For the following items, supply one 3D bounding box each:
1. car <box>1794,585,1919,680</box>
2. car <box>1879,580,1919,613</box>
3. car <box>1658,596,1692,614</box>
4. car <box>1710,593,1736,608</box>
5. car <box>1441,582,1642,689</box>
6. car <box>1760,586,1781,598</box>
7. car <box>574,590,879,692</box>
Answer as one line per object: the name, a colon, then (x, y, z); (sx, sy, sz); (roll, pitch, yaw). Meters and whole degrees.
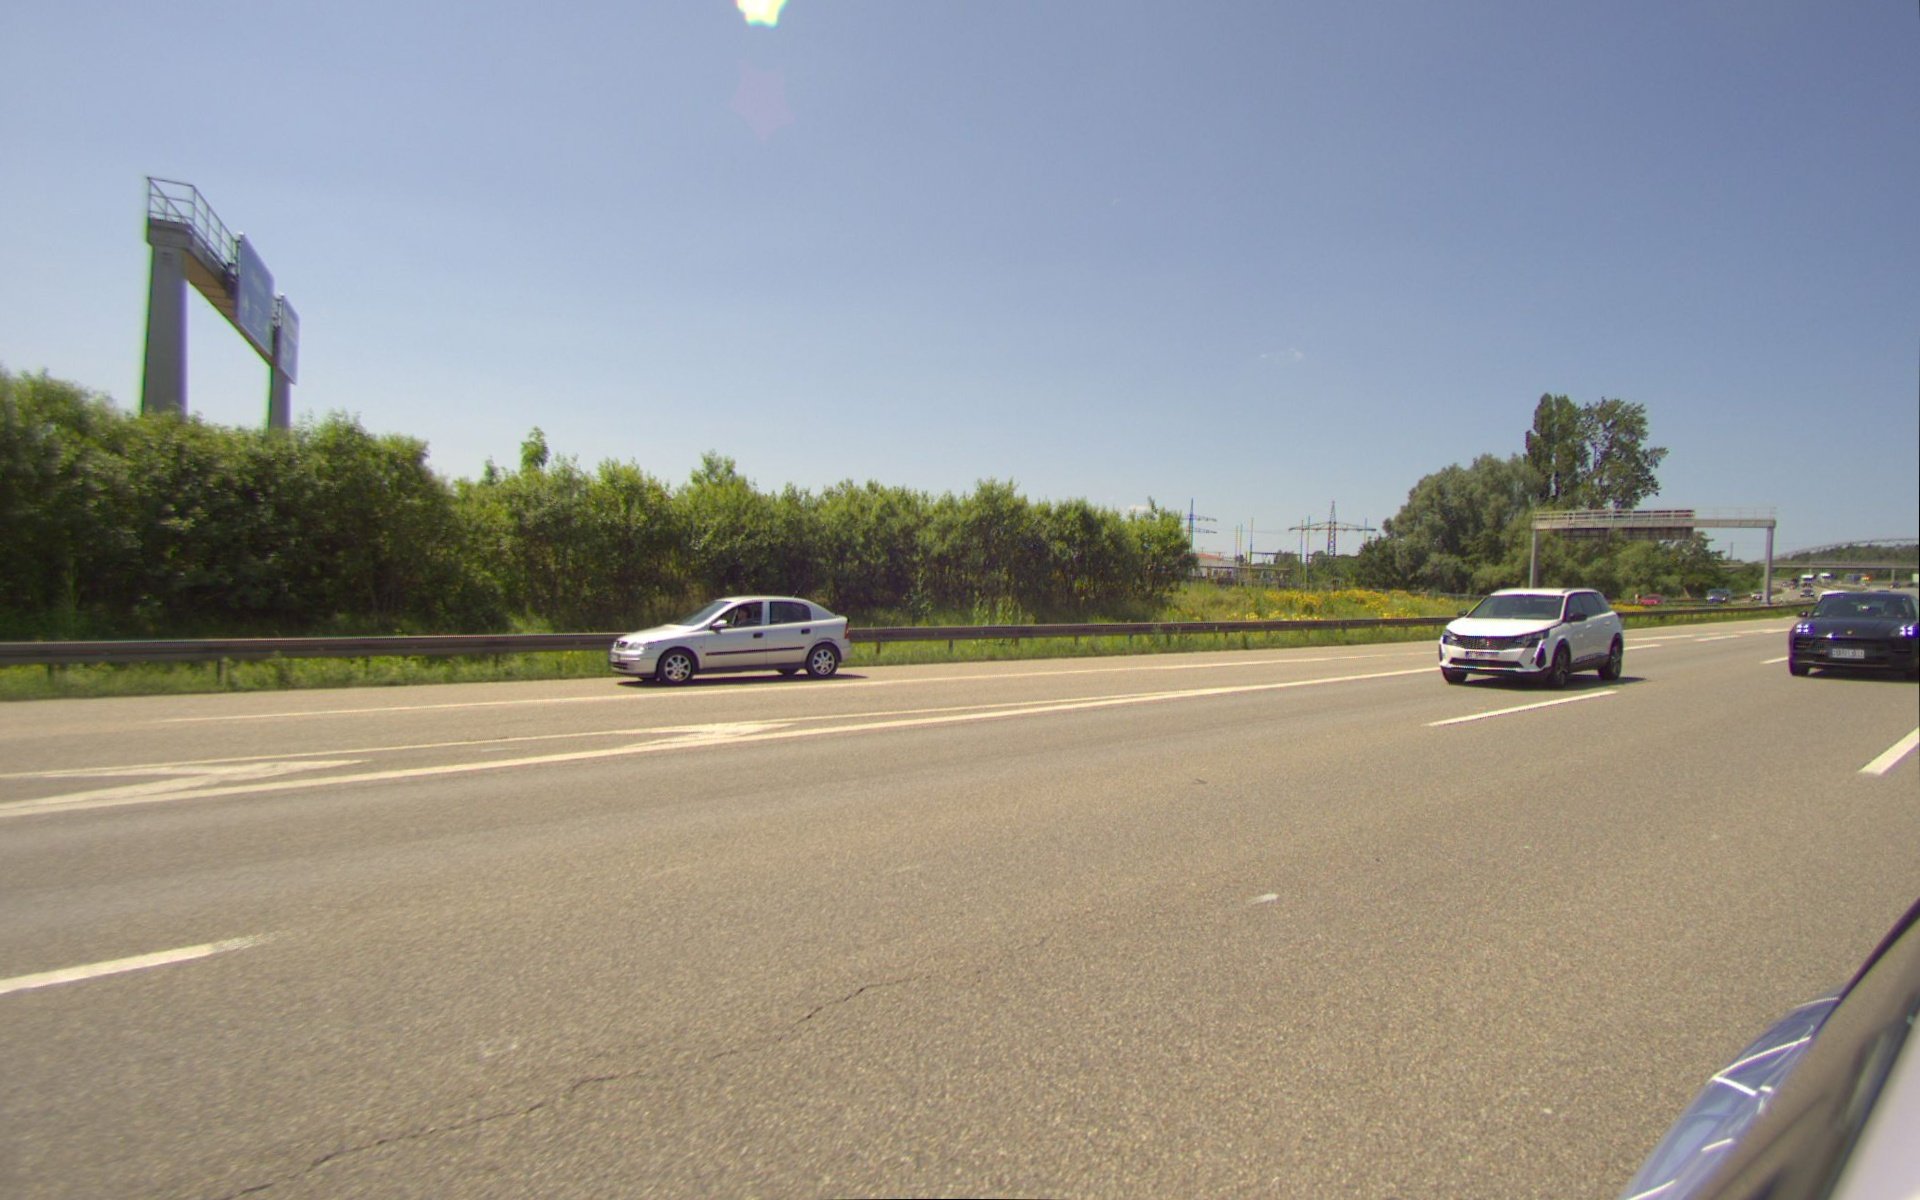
car: (17.722, 0.532, 19.471); (4.060, 1.615, 1.930); (-1, 1, -41)
car: (57.025, -0.244, 61.288); (4.224, 1.943, 1.805); (-1, 1, -44)
car: (66.429, 0.454, 93.985); (4.057, 1.594, 1.702); (-1, 1, -41)
car: (88.029, 0.023, 116.756); (4.057, 1.594, 1.702); (-1, 1, -41)
car: (10.252, 0.504, 17.696); (4.541, 1.611, 1.746); (-1, 1, -42)
car: (116.885, -1.168, 145.976); (4.058, 1.594, 1.702); (-1, 1, -42)
car: (-3.881, 0.599, 17.239); (4.755, 1.455, 1.792); (-1, 1, -35)
